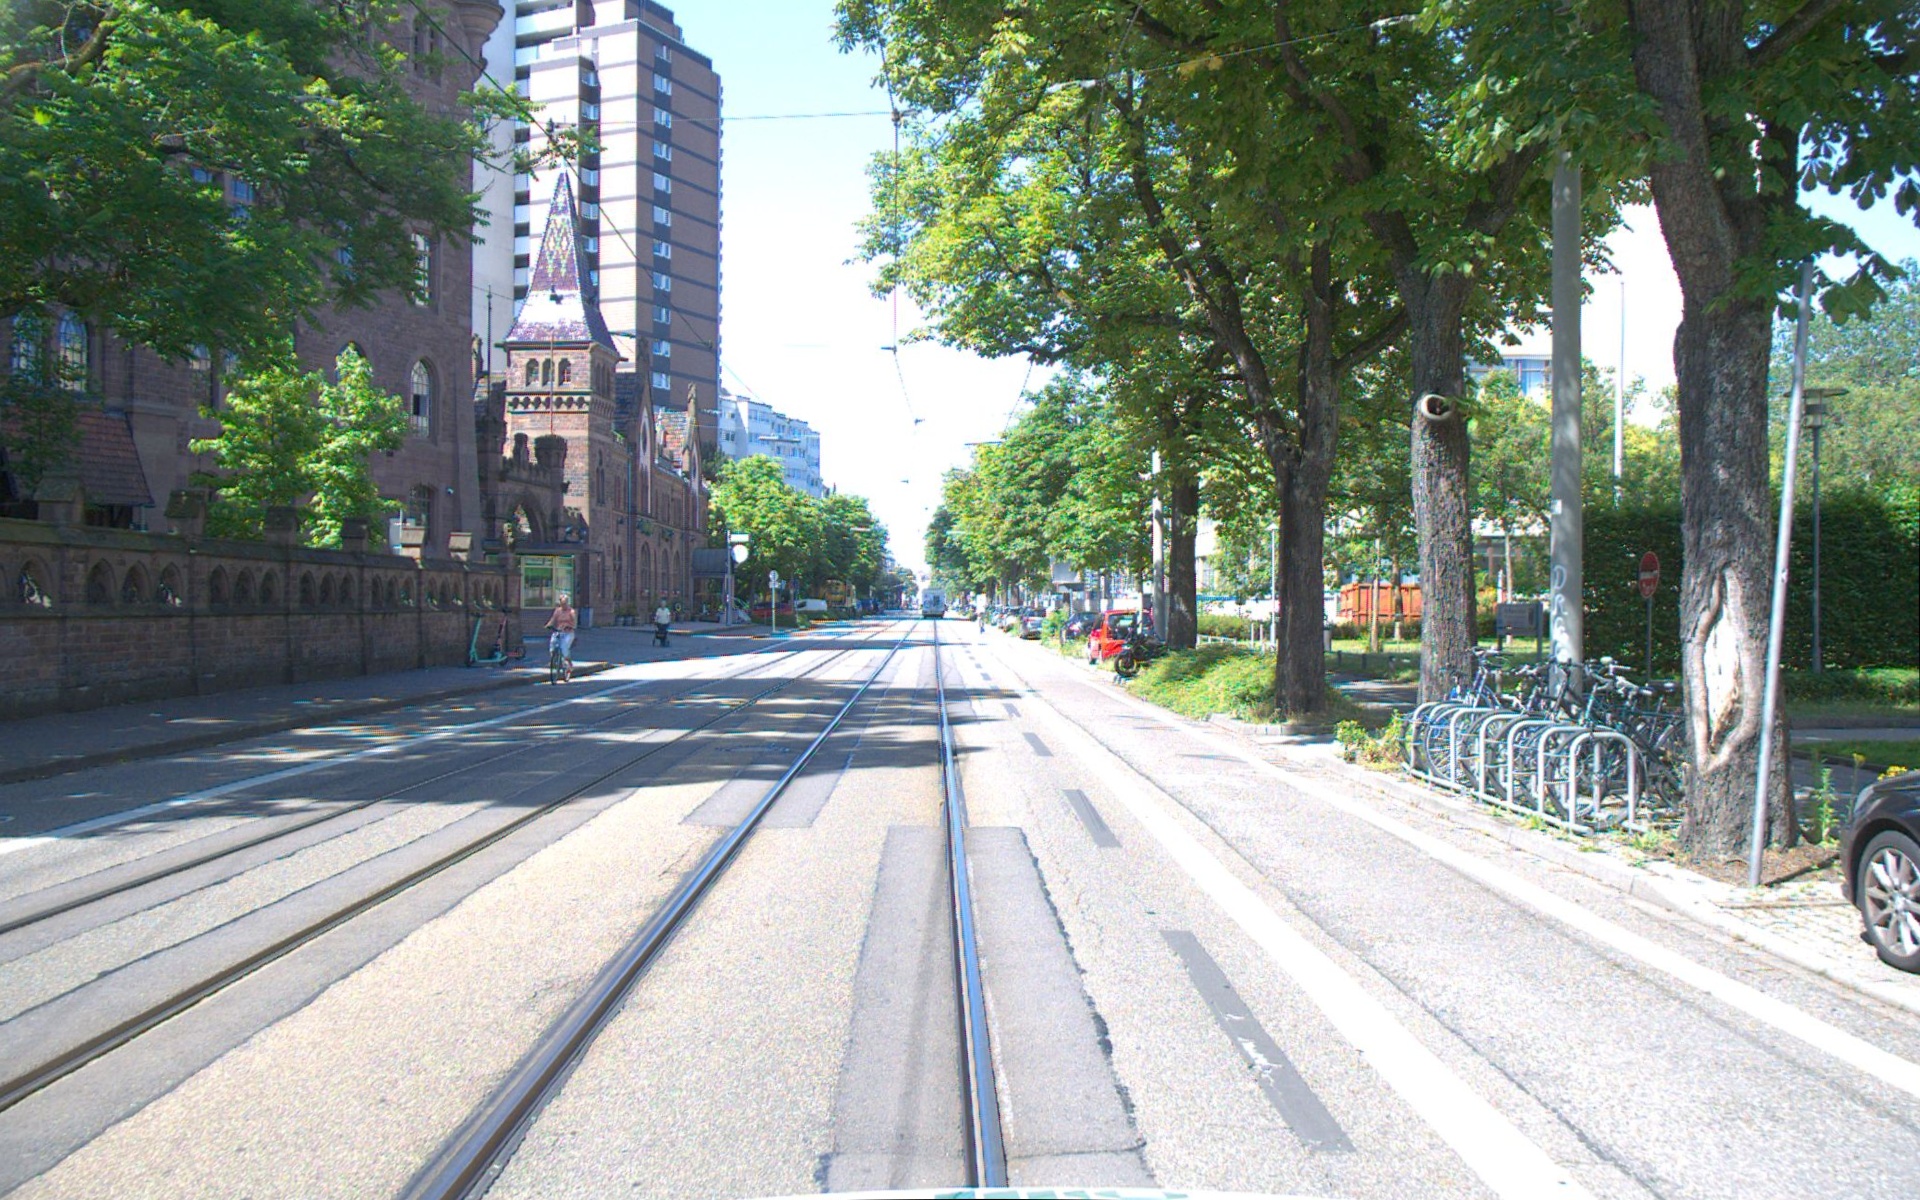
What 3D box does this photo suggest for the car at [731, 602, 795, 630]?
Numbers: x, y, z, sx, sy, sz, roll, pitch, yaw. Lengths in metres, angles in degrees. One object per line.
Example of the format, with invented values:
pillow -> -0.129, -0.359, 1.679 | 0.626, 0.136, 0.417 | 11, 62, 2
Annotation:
car -> -13.286, 1.092, 111.684 | 3.959, 1.842, 1.864 | 0, -1, -38

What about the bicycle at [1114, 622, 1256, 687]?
bicycle -> 4.815, 1.163, 35.576 | 2.965, 1.355, 1.041 | 0, 0, 2

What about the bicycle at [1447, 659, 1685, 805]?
bicycle -> 4.824, 1.041, 13.218 | 1.689, 1.105, 0.589 | 0, 0, -2

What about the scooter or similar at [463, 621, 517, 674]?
scooter or similar -> -10.403, 1.051, 36.632 | 0.327, 1.149, 1.181 | 0, -1, 38

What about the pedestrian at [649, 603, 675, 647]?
pedestrian -> -10.546, 0.866, 58.569 | 0.867, 1.538, 1.472 | 0, 0, -10

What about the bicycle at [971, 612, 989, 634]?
bicycle -> 1.065, 1.215, 88.615 | 0.838, 1.129, 2.139 | 0, 0, -2

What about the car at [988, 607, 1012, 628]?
car -> 2.879, 1.268, 119.712 | 1.596, 1.498, 4.113 | 0, 0, -1

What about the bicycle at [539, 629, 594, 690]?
bicycle -> -7.982, 1.186, 33.620 | 0.649, 1.174, 2.013 | 0, 0, -1

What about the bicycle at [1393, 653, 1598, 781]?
bicycle -> 4.791, 1.039, 14.845 | 1.689, 1.105, 0.478 | 0, 0, -2

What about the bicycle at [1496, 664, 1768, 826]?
bicycle -> 4.851, 1.034, 12.000 | 1.689, 1.105, 0.696 | 0, 0, -2

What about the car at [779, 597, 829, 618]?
car -> -13.650, 0.636, 144.776 | 3.947, 1.780, 1.979 | 0, 0, -32

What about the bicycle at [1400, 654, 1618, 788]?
bicycle -> 4.730, 1.032, 14.305 | 1.689, 1.105, 0.614 | 0, 0, -2

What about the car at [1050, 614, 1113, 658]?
car -> 3.965, 1.158, 54.540 | 1.597, 1.378, 3.899 | 0, 0, -3

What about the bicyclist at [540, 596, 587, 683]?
bicyclist -> -8.050, 0.796, 33.604 | 0.710, 1.728, 1.146 | 0, -1, -2

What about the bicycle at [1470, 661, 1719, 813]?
bicycle -> 4.824, 1.033, 12.627 | 1.689, 1.105, 0.570 | 0, 0, -2

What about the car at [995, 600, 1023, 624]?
car -> 3.155, 0.771, 106.730 | 1.596, 1.498, 4.113 | 0, 0, -1

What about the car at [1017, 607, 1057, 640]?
car -> 3.531, 1.073, 76.216 | 1.596, 1.498, 4.113 | 0, 0, -1

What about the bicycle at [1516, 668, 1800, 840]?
bicycle -> 4.760, 1.037, 11.339 | 1.689, 1.105, 0.628 | 0, 0, -2

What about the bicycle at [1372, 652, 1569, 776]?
bicycle -> 4.718, 1.045, 15.328 | 1.689, 1.105, 0.478 | 0, 0, -2

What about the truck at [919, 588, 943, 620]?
truck -> -2.979, 0.386, 167.190 | 2.354, 3.163, 6.035 | 0, 0, -1

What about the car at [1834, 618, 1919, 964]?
car -> 5.047, 0.832, 5.790 | 1.597, 1.509, 4.271 | 0, 0, -2

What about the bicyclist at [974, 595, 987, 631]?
bicyclist -> 1.094, 0.685, 88.643 | 0.623, 1.904, 1.024 | 0, 0, -2

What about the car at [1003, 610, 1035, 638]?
car -> 3.320, 1.359, 94.101 | 1.596, 1.498, 4.113 | 0, 0, -1

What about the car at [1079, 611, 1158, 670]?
car -> 4.244, 1.060, 44.690 | 1.597, 1.498, 3.717 | 0, 0, -3

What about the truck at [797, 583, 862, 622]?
truck -> -13.633, 0.304, 173.685 | 2.755, 3.927, 10.001 | 0, 0, 21
